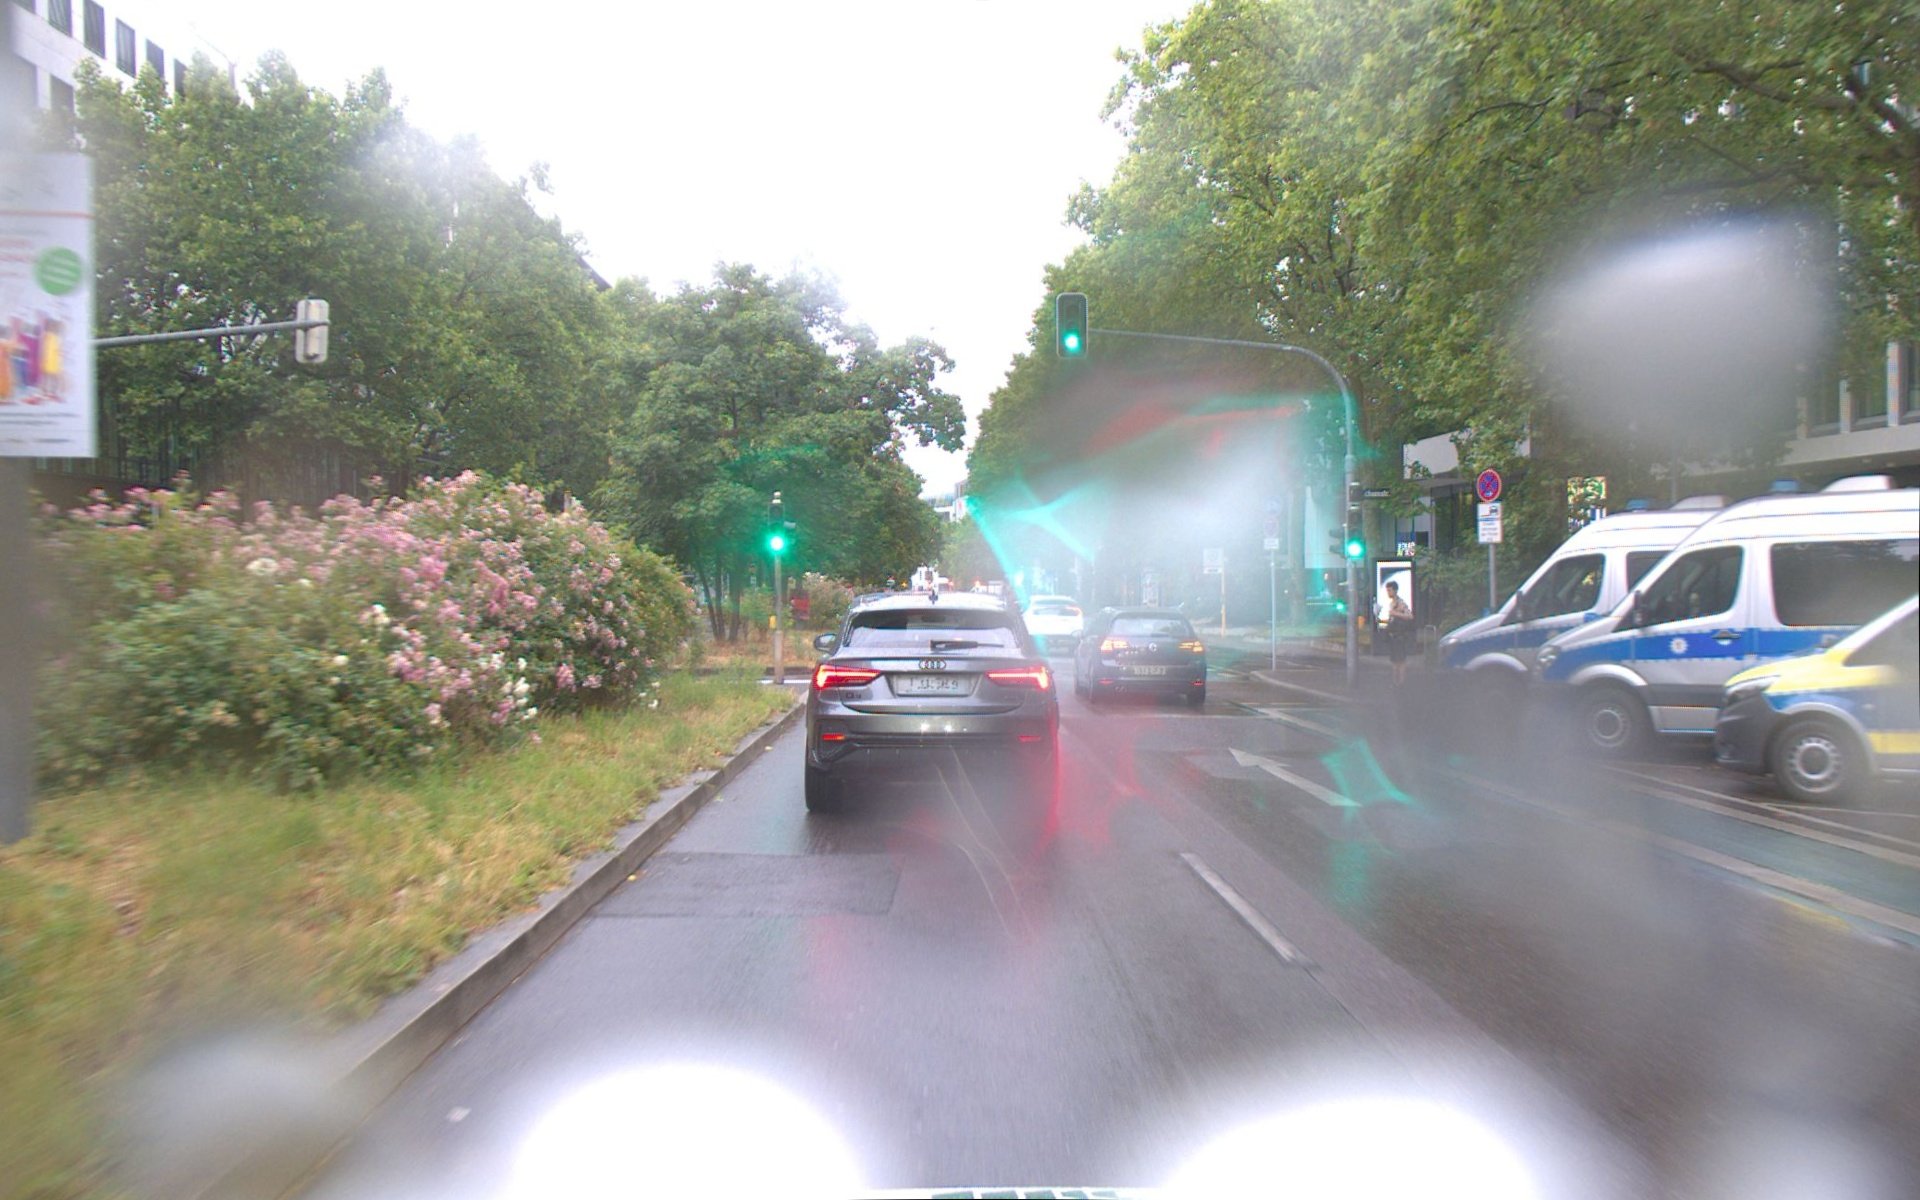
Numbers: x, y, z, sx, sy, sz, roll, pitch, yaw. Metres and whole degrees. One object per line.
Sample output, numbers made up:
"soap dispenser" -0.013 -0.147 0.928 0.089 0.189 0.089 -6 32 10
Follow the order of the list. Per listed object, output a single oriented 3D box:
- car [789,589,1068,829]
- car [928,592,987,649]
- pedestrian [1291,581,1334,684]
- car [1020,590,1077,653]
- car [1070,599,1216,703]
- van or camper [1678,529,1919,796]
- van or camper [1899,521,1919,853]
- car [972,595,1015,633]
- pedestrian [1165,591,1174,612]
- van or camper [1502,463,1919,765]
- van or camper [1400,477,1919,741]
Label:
"car" -0.193 0.703 13.121 1.825 1.559 4.527 0 0 0
"car" -0.111 0.585 49.331 1.687 1.605 3.961 -1 0 -1
"pedestrian" 6.470 0.583 30.383 0.595 1.863 0.563 0 0 -10
"car" 2.486 0.584 46.874 1.404 1.714 2.978 -1 0 -1
"car" 2.766 0.727 25.819 1.729 1.437 3.999 -1 0 -1
"van or camper" 8.511 0.483 13.072 4.914 2.049 1.993 -1 -1 35
"van or camper" 8.436 0.569 9.584 5.101 2.027 1.994 1 -1 34
"car" 1.601 0.672 80.694 1.953 1.780 3.999 -1 0 -1
"pedestrian" 18.151 0.139 143.200 0.637 1.847 0.655 0 0 -2
"van or camper" 8.496 0.119 16.263 5.693 2.727 1.993 -1 0 35
"van or camper" 8.350 0.091 19.588 5.701 2.724 2.139 0 0 37
